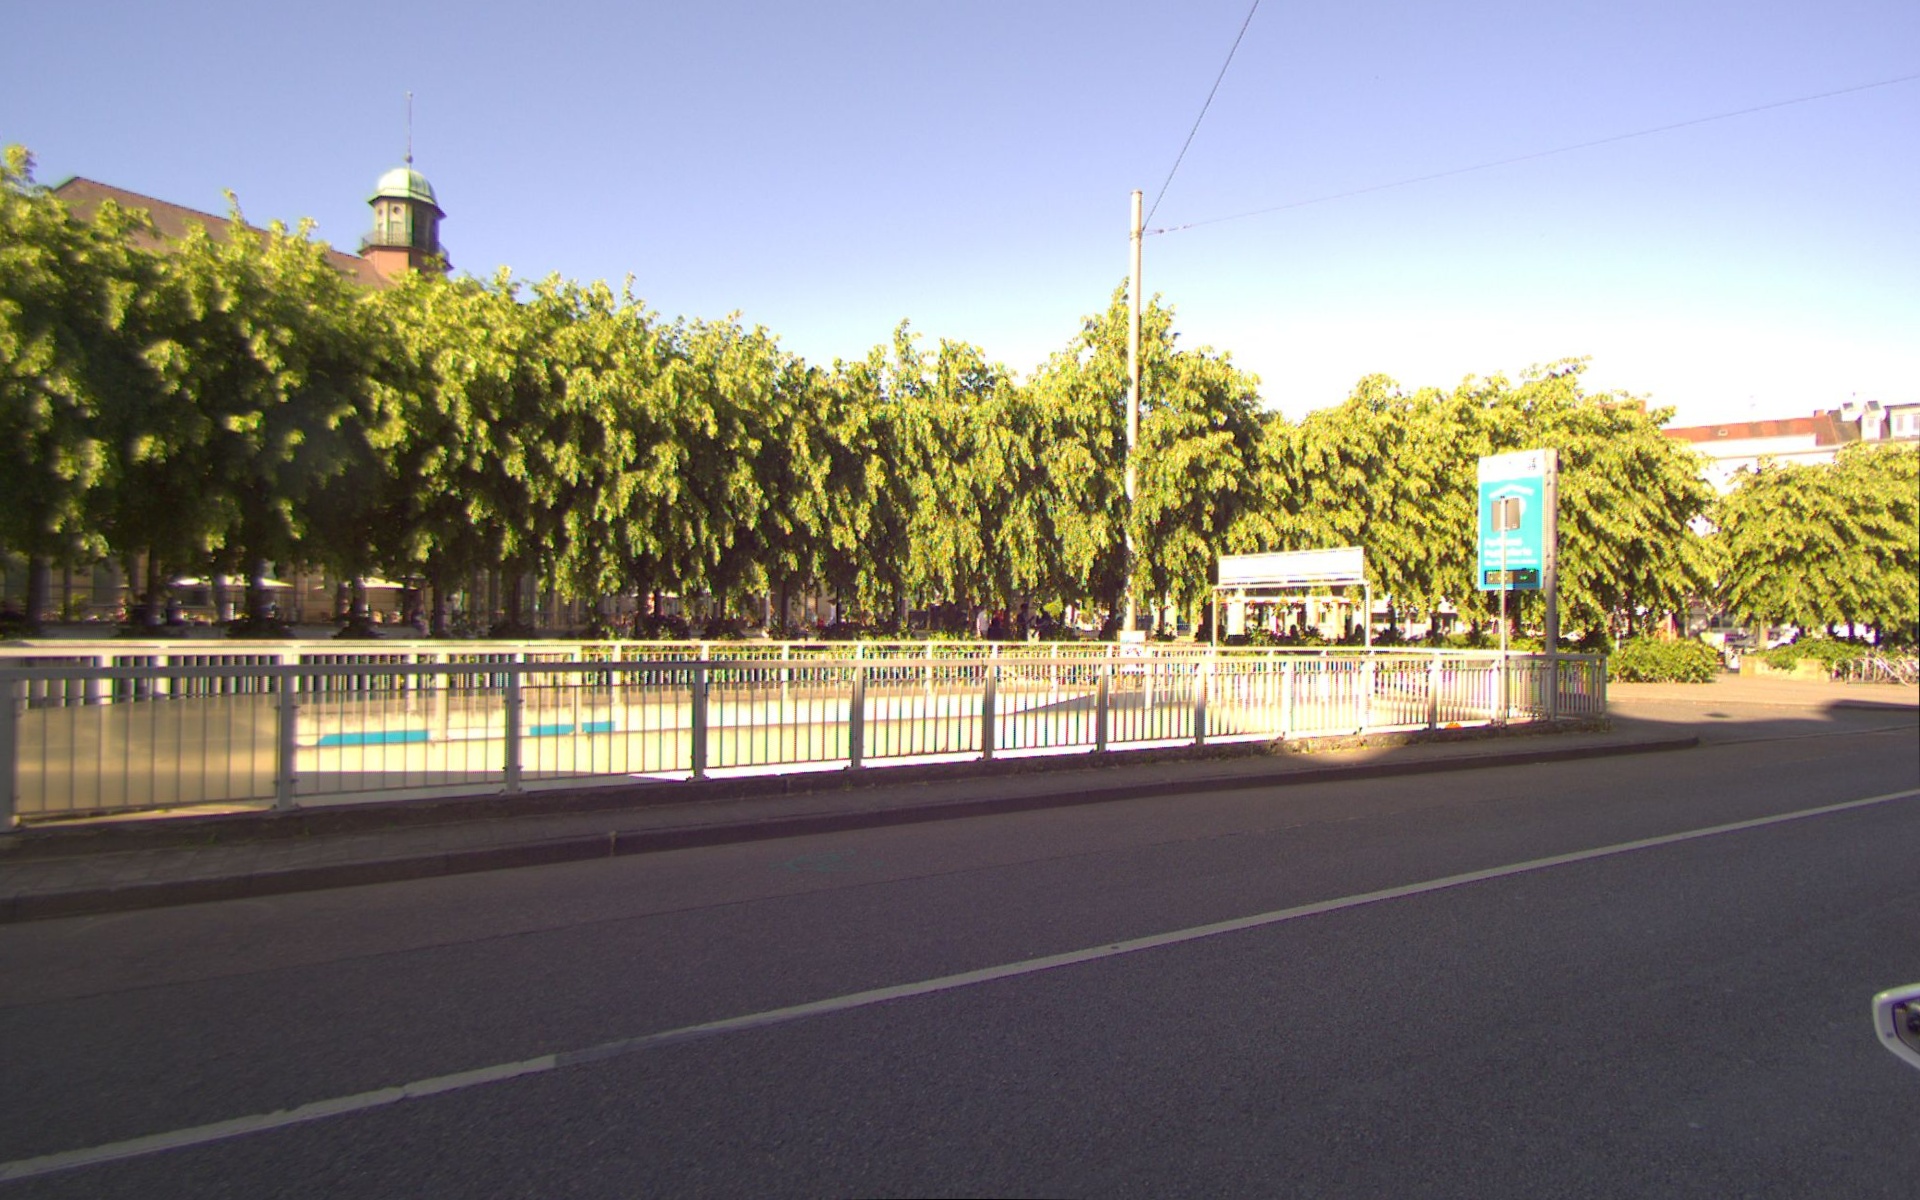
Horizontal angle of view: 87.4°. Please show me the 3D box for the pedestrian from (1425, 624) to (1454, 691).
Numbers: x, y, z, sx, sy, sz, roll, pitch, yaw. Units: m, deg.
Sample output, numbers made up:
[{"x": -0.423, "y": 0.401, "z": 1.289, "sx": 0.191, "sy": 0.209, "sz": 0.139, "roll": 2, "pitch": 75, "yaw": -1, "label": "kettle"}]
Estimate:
[{"x": 13.857, "y": 1.649, "z": 29.009, "sx": 0.574, "sy": 1.881, "sz": 0.598, "roll": 2, "pitch": 0, "yaw": 42, "label": "pedestrian"}]

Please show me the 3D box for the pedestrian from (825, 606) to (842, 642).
[{"x": -6.450, "y": 1.222, "z": 51.214, "sx": 0.597, "sy": 1.816, "sz": 0.575, "roll": 2, "pitch": 0, "yaw": -43, "label": "pedestrian"}]

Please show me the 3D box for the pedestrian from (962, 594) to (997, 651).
[{"x": 0.613, "y": 0.704, "z": 32.059, "sx": 0.918, "sy": 1.775, "sz": 0.729, "roll": 2, "pitch": 0, "yaw": -14, "label": "pedestrian"}]

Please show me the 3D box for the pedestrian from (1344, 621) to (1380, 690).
[{"x": 11.338, "y": 1.558, "z": 28.321, "sx": 0.722, "sy": 1.881, "sz": 0.579, "roll": 2, "pitch": 0, "yaw": -27, "label": "pedestrian"}]

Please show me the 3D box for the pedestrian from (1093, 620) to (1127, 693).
[{"x": 3.948, "y": 1.481, "z": 26.429, "sx": 0.595, "sy": 1.881, "sz": 0.577, "roll": 2, "pitch": 0, "yaw": -33, "label": "pedestrian"}]

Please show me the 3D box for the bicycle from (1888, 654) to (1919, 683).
[{"x": 28.005, "y": 2.014, "z": 29.175, "sx": 0.468, "sy": 0.779, "sz": 1.468, "roll": 2, "pitch": 0, "yaw": -26, "label": "bicycle"}]

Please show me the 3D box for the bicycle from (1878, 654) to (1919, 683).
[{"x": 27.501, "y": 1.986, "z": 28.945, "sx": 0.435, "sy": 0.779, "sz": 1.469, "roll": 2, "pitch": 0, "yaw": -24, "label": "bicycle"}]

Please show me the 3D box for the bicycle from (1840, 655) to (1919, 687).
[{"x": 26.165, "y": 2.005, "z": 28.598, "sx": 0.467, "sy": 0.779, "sz": 1.654, "roll": 2, "pitch": 0, "yaw": -20, "label": "bicycle"}]
